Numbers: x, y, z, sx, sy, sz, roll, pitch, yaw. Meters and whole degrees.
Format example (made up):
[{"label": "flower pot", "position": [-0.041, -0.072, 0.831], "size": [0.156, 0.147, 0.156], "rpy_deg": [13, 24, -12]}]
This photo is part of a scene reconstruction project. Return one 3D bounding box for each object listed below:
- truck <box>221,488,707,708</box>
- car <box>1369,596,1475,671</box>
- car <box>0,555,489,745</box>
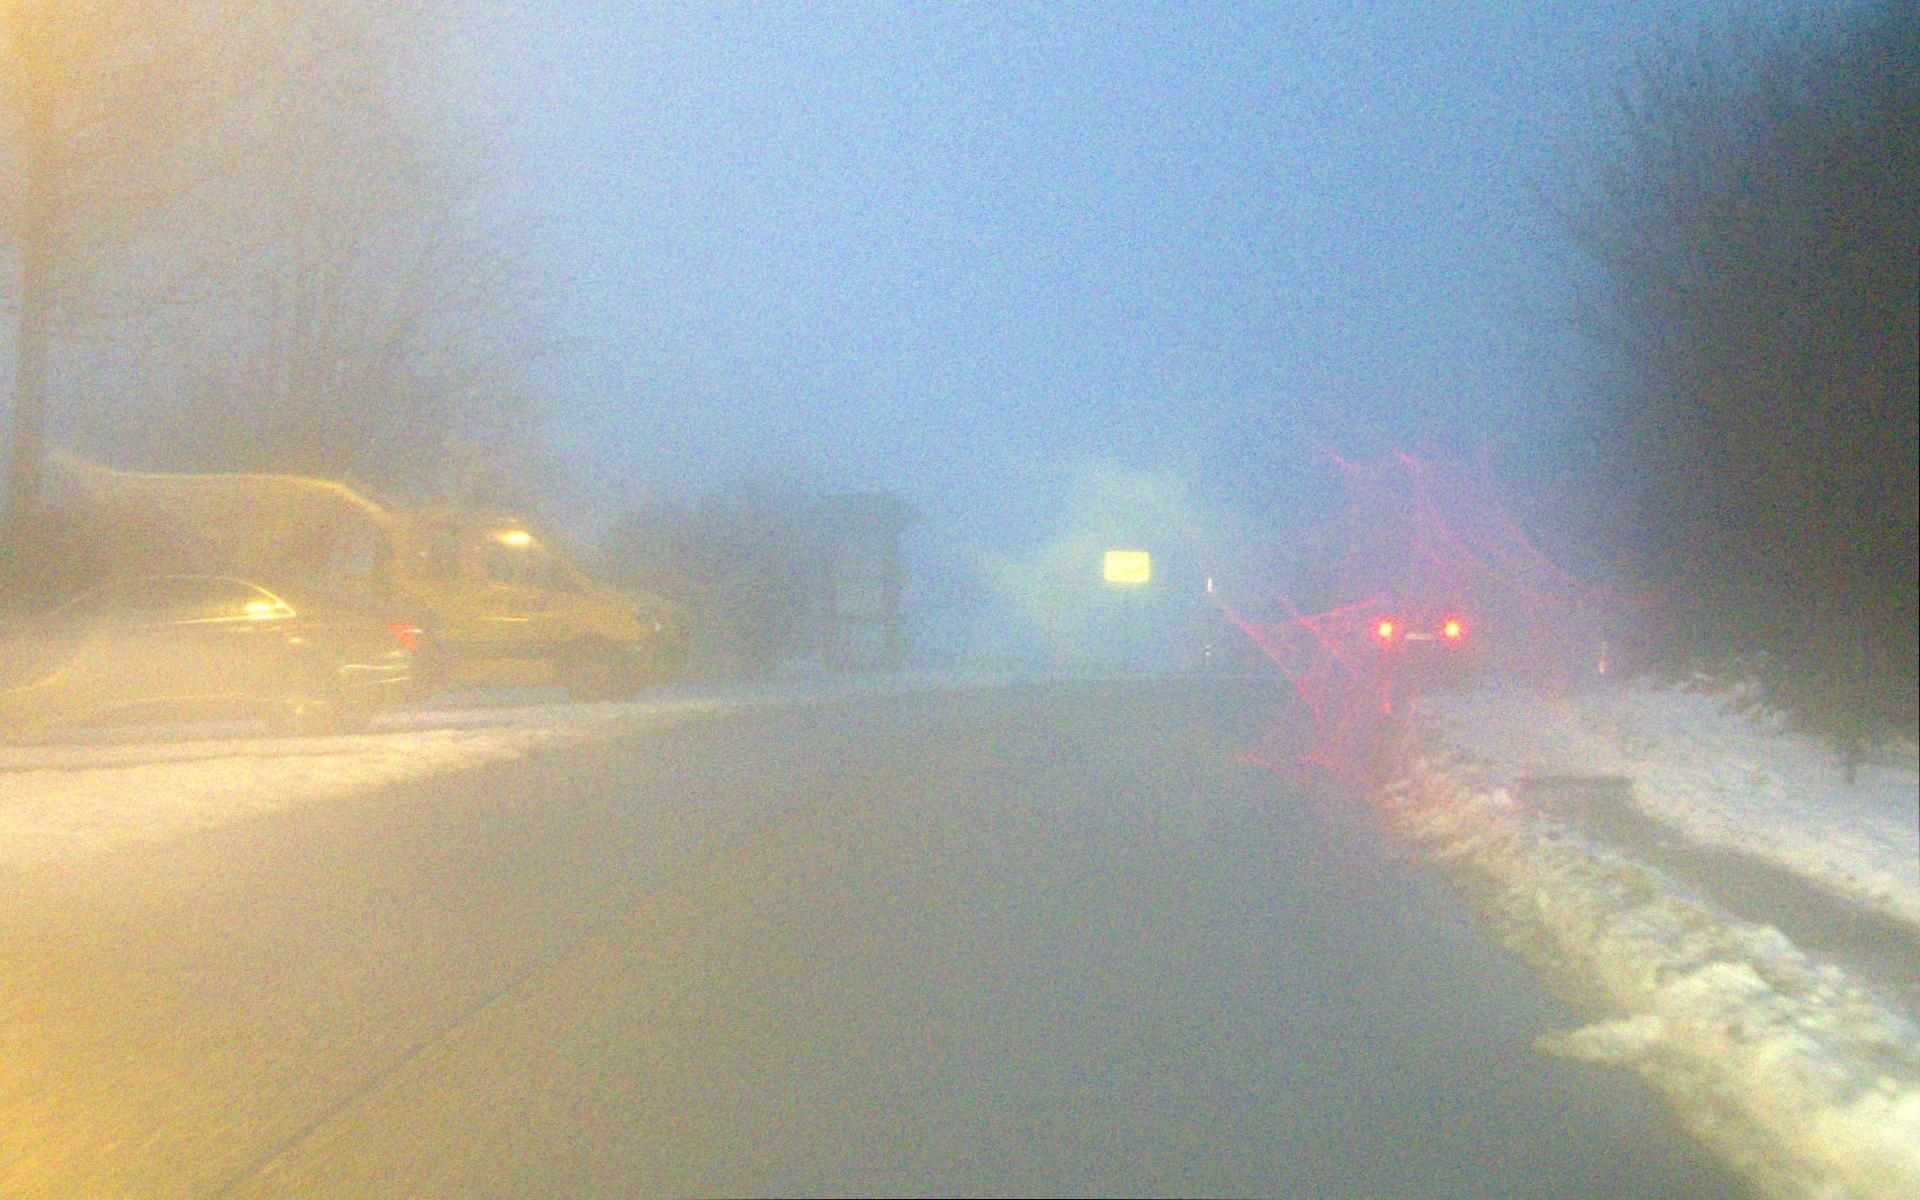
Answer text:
[{"label": "truck", "position": [-5.691, -0.032, 39.935], "size": [5.261, 2.295, 2.000], "rpy_deg": [-2, 1, 1]}, {"label": "car", "position": [9.085, 0.674, 67.743], "size": [1.994, 1.415, 3.999], "rpy_deg": [1, -1, 7]}, {"label": "car", "position": [-6.766, 0.433, 30.179], "size": [4.887, 1.480, 2.123], "rpy_deg": [-2, 0, 2]}]
